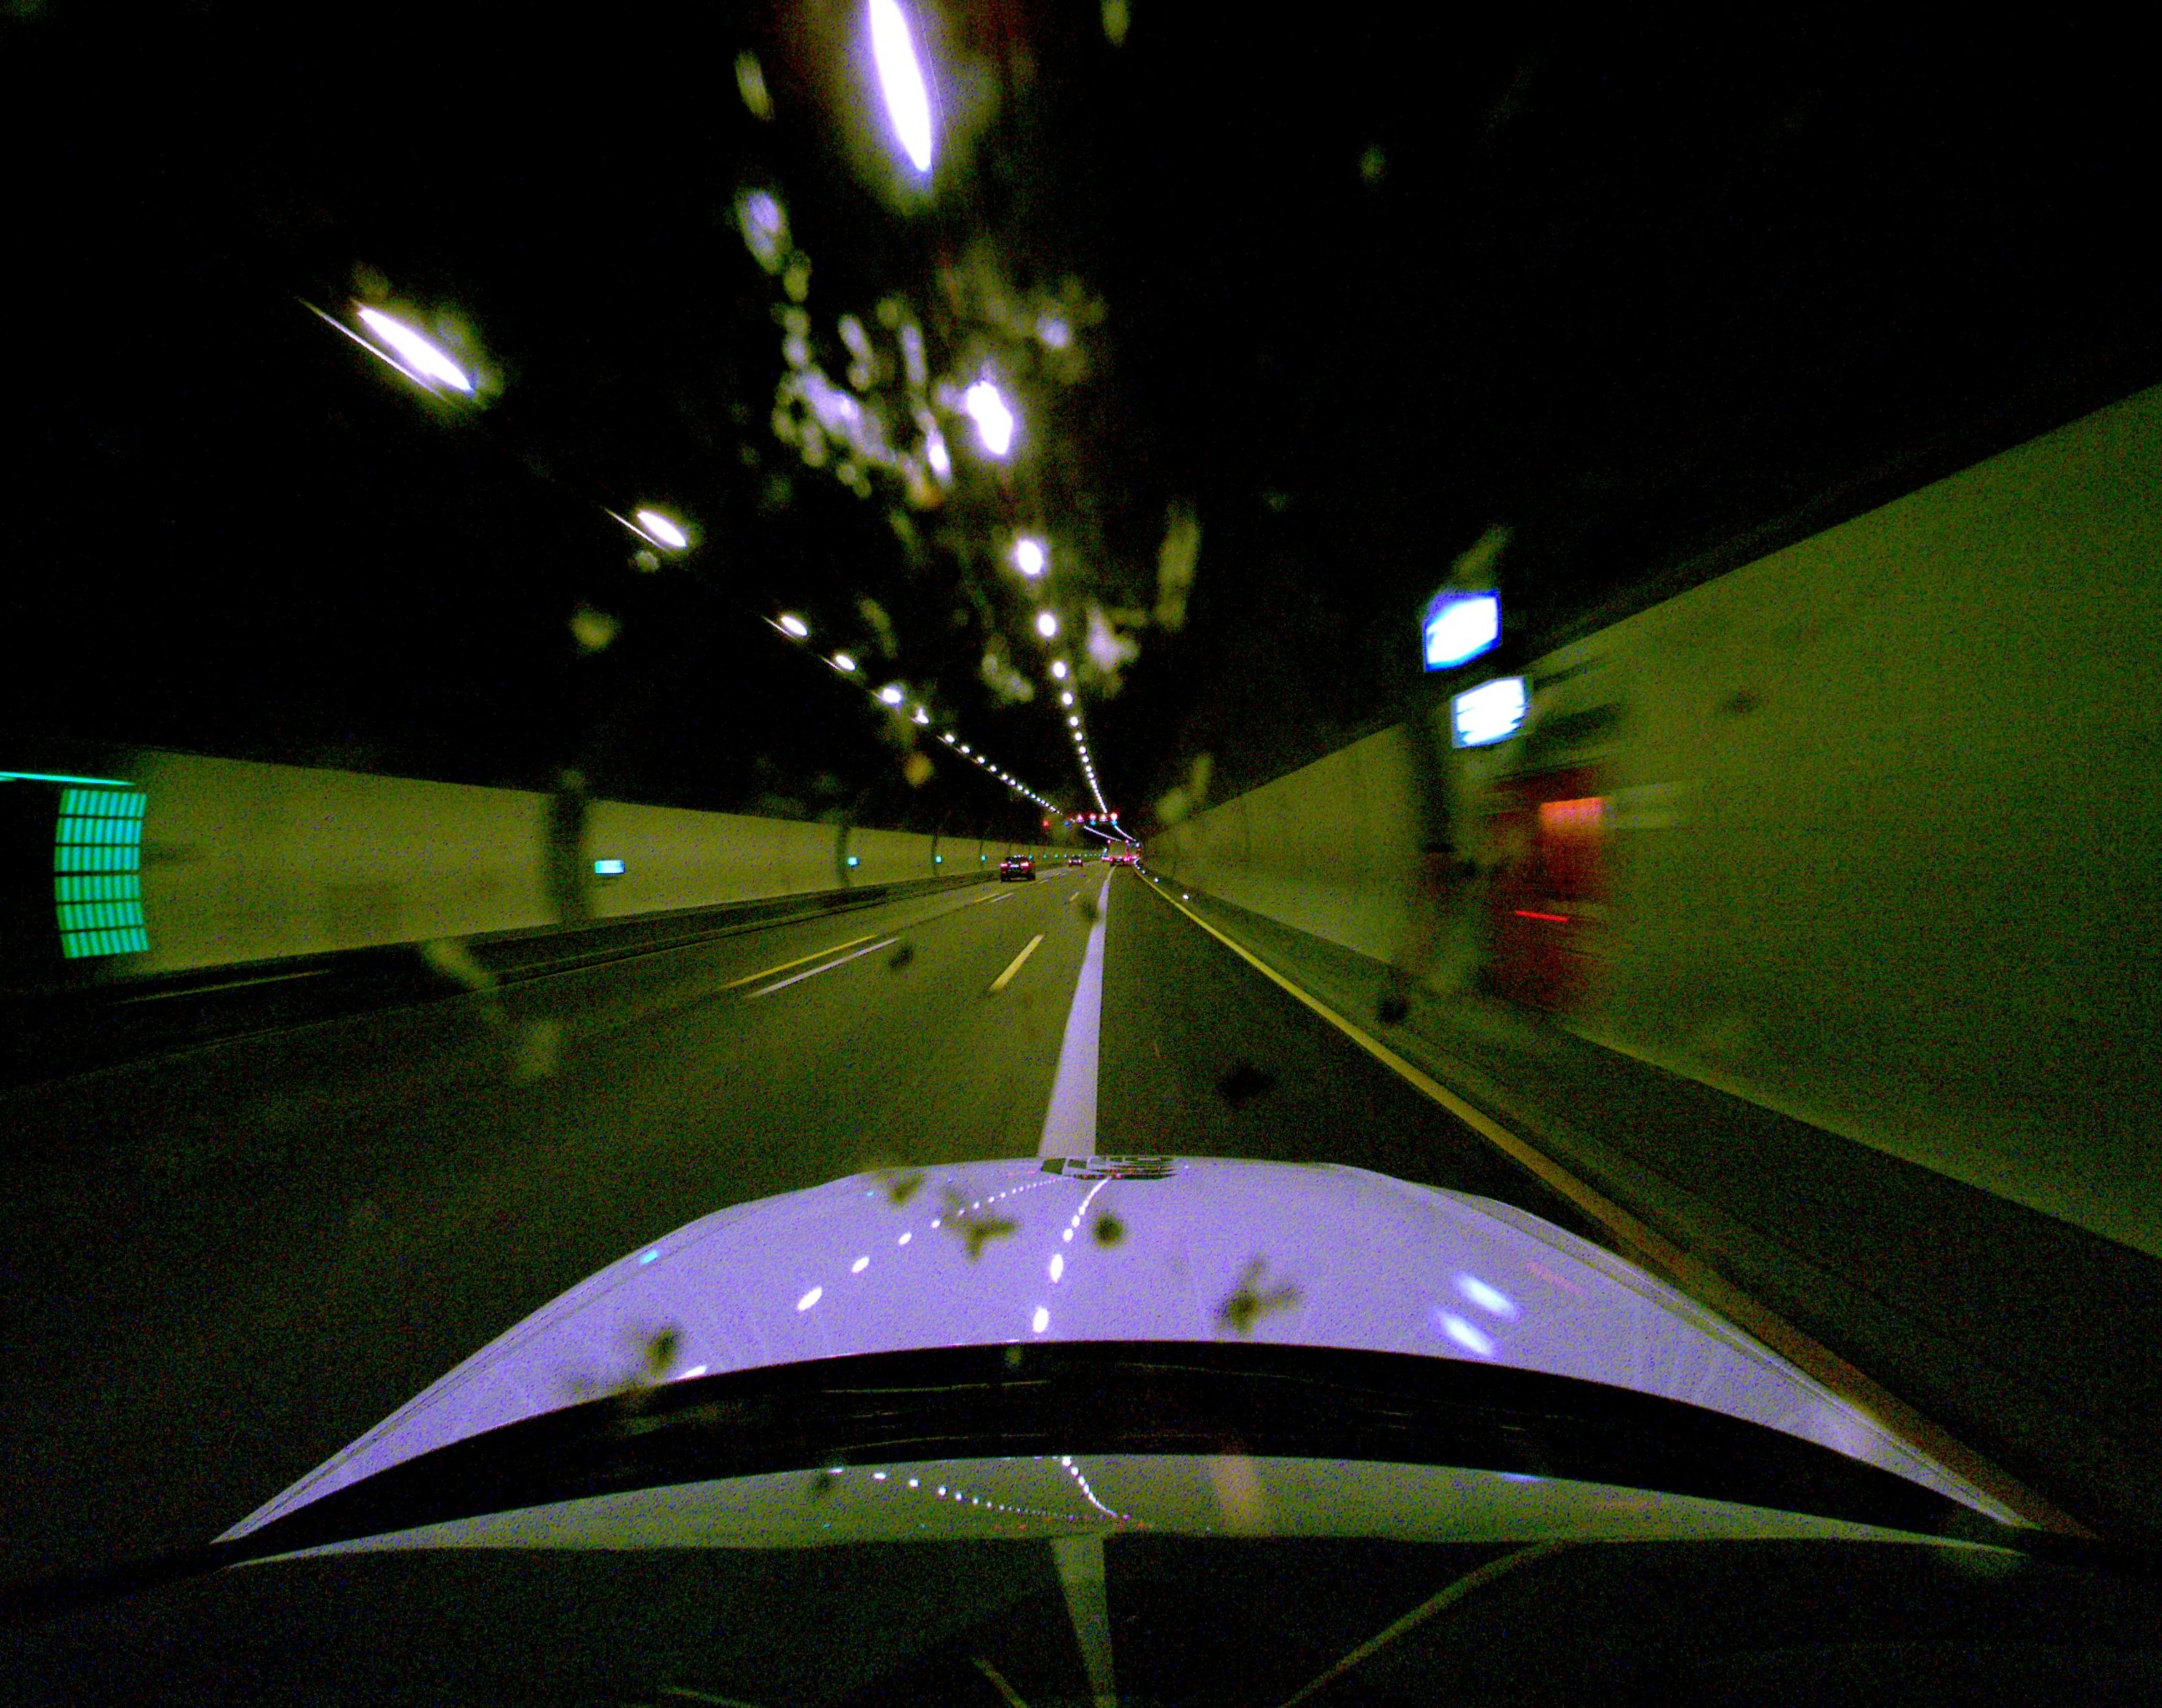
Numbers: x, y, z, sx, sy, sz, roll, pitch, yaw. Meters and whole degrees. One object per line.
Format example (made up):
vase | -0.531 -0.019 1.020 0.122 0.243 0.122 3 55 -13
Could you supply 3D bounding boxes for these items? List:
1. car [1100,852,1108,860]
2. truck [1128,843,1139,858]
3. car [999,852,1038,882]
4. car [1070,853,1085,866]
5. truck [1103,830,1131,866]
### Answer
car | 4.809 0.410 169.094 1.644 1.274 4.002 -3 2 2
truck | 15.848 -1.026 247.213 2.910 4.047 14.045 -5 0 4
car | -3.851 0.763 50.427 1.805 1.618 4.003 -3 0 3
car | -0.415 0.719 107.544 1.806 1.519 4.002 -3 2 2
truck | 5.142 -0.794 118.918 3.267 4.649 17.289 -5 0 1
